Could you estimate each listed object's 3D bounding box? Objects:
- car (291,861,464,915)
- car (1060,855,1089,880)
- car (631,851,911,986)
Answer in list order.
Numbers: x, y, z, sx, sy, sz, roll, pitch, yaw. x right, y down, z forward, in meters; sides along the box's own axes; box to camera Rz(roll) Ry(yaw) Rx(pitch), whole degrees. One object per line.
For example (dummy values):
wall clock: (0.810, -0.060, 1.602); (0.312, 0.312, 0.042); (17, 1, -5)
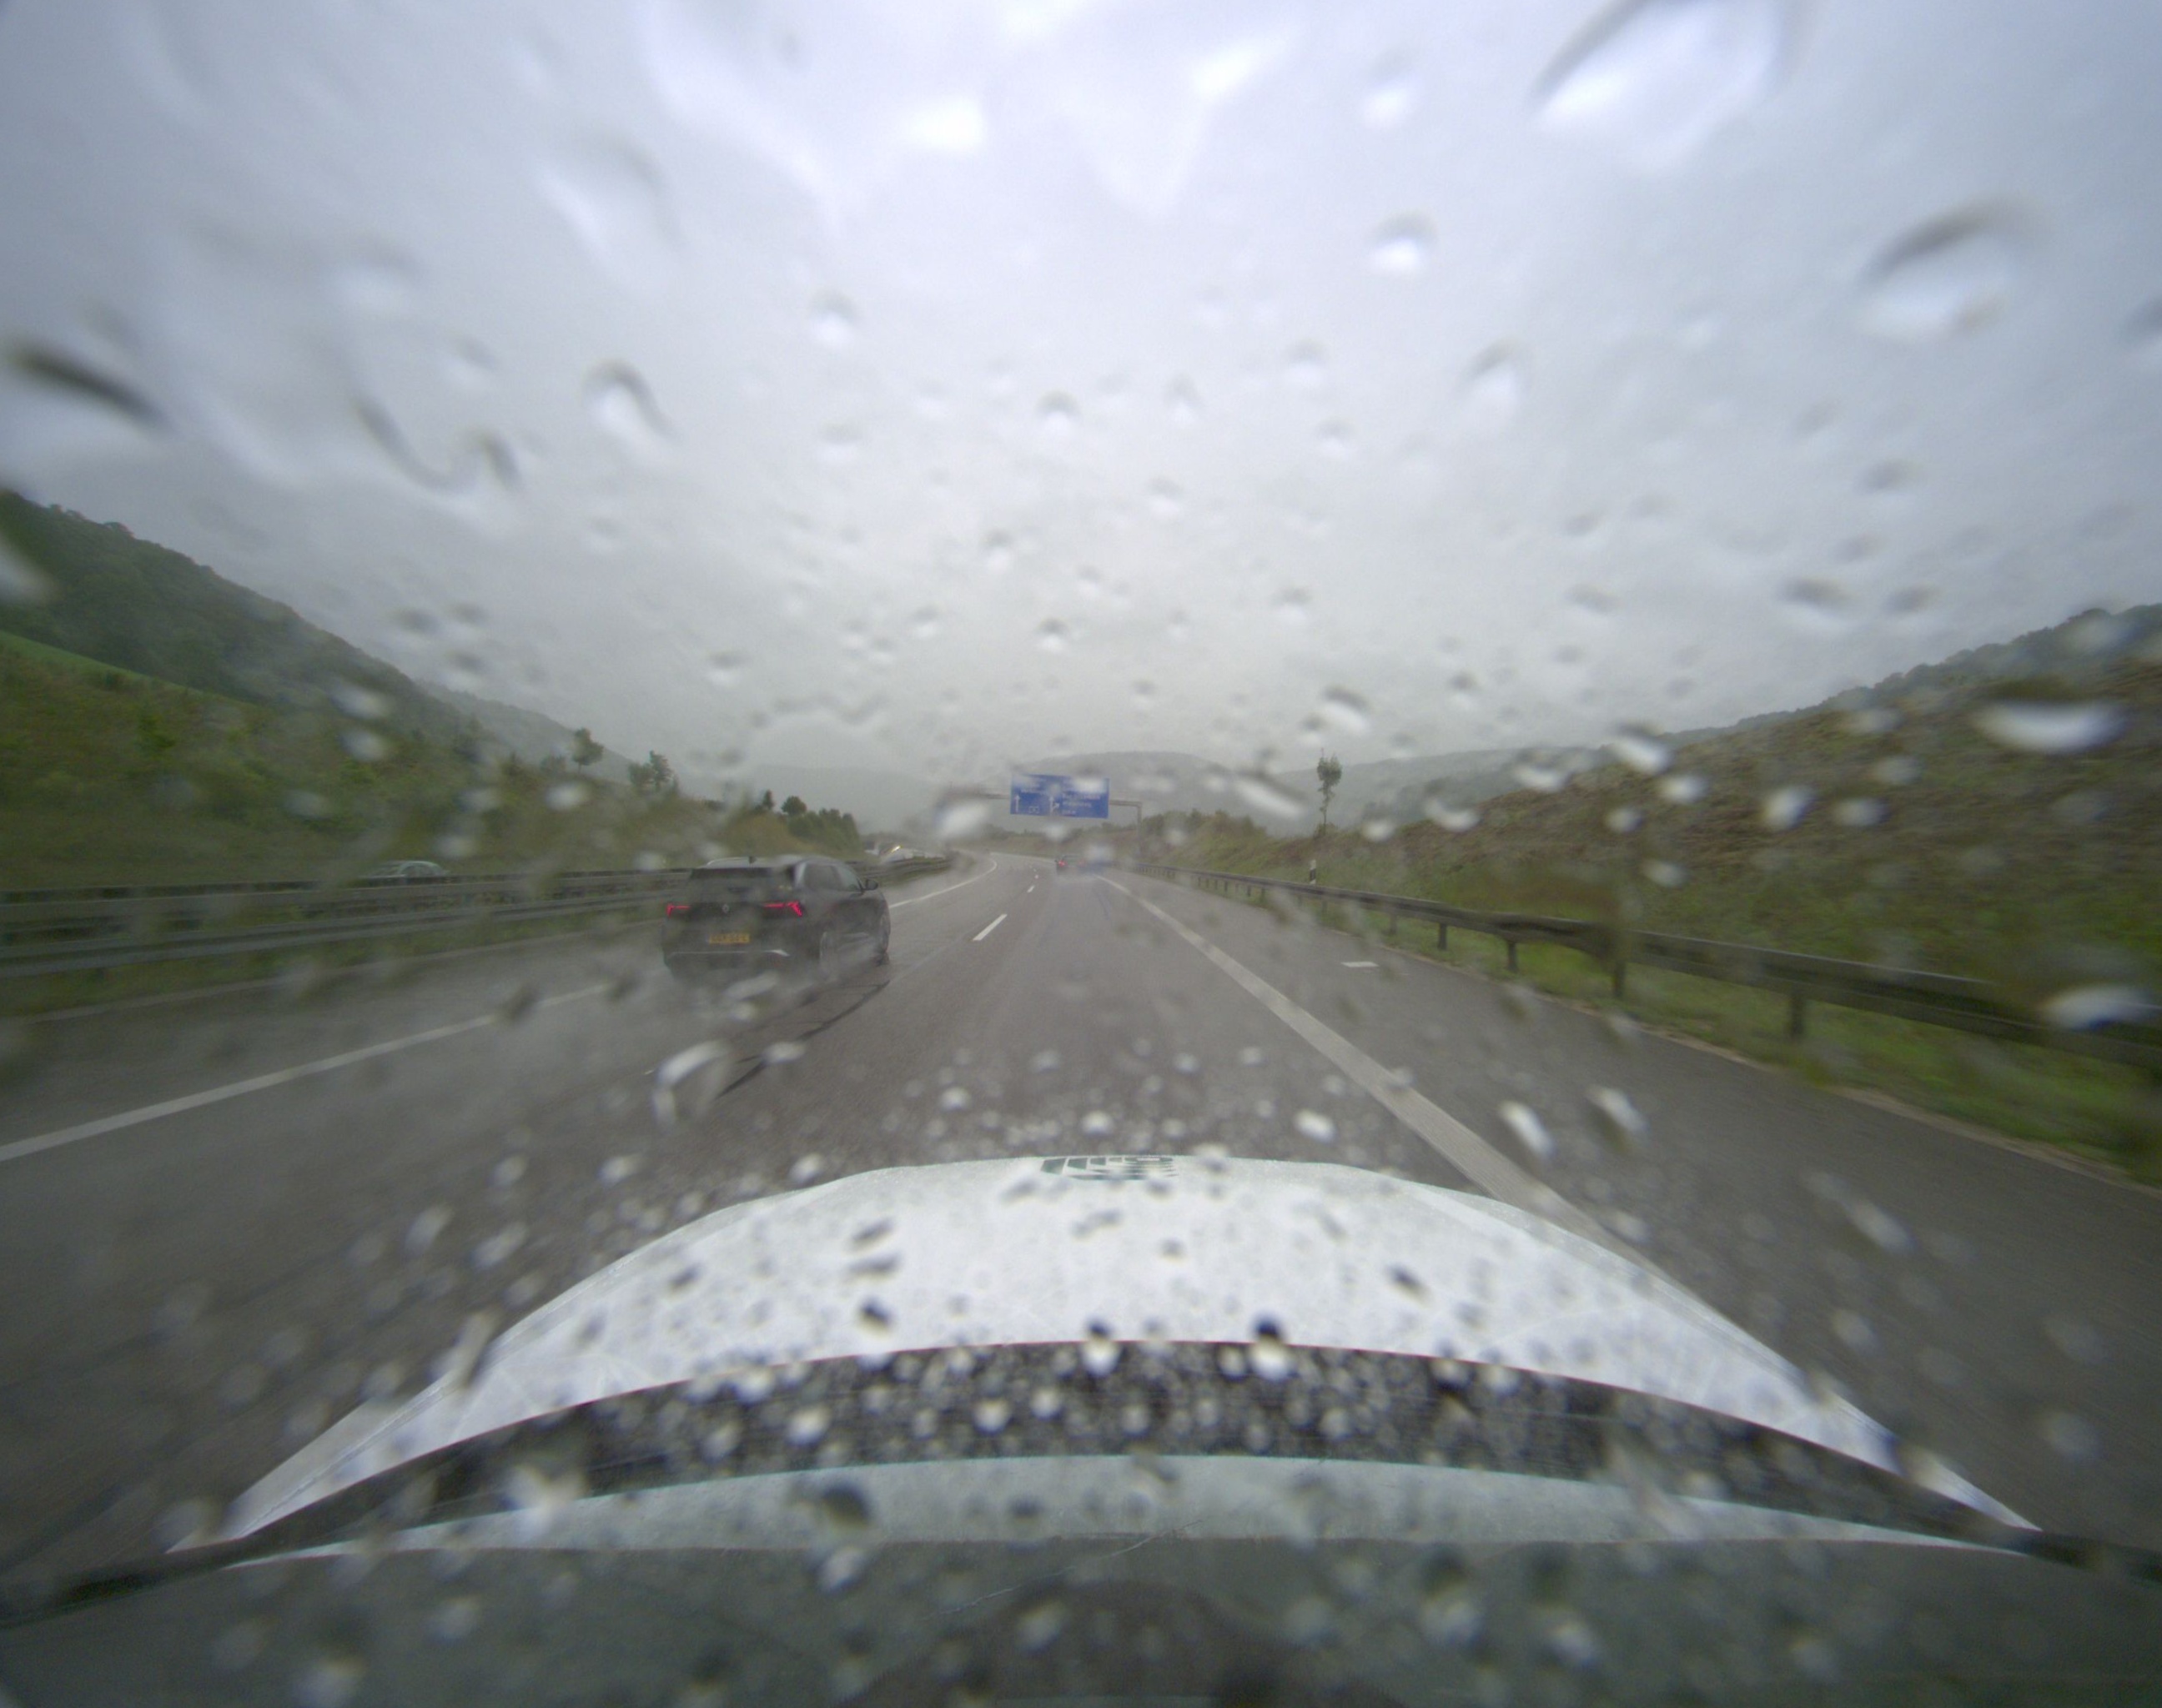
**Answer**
car: (-20.583, 0.935, 24.061); (1.788, 1.420, 3.776); (-1, 0, 0)
car: (-0.464, 0.823, 51.630); (1.675, 1.472, 3.811); (1, 0, -3)
car: (-3.987, 0.735, 11.600); (2.401, 1.515, 4.777); (1, 0, -4)
